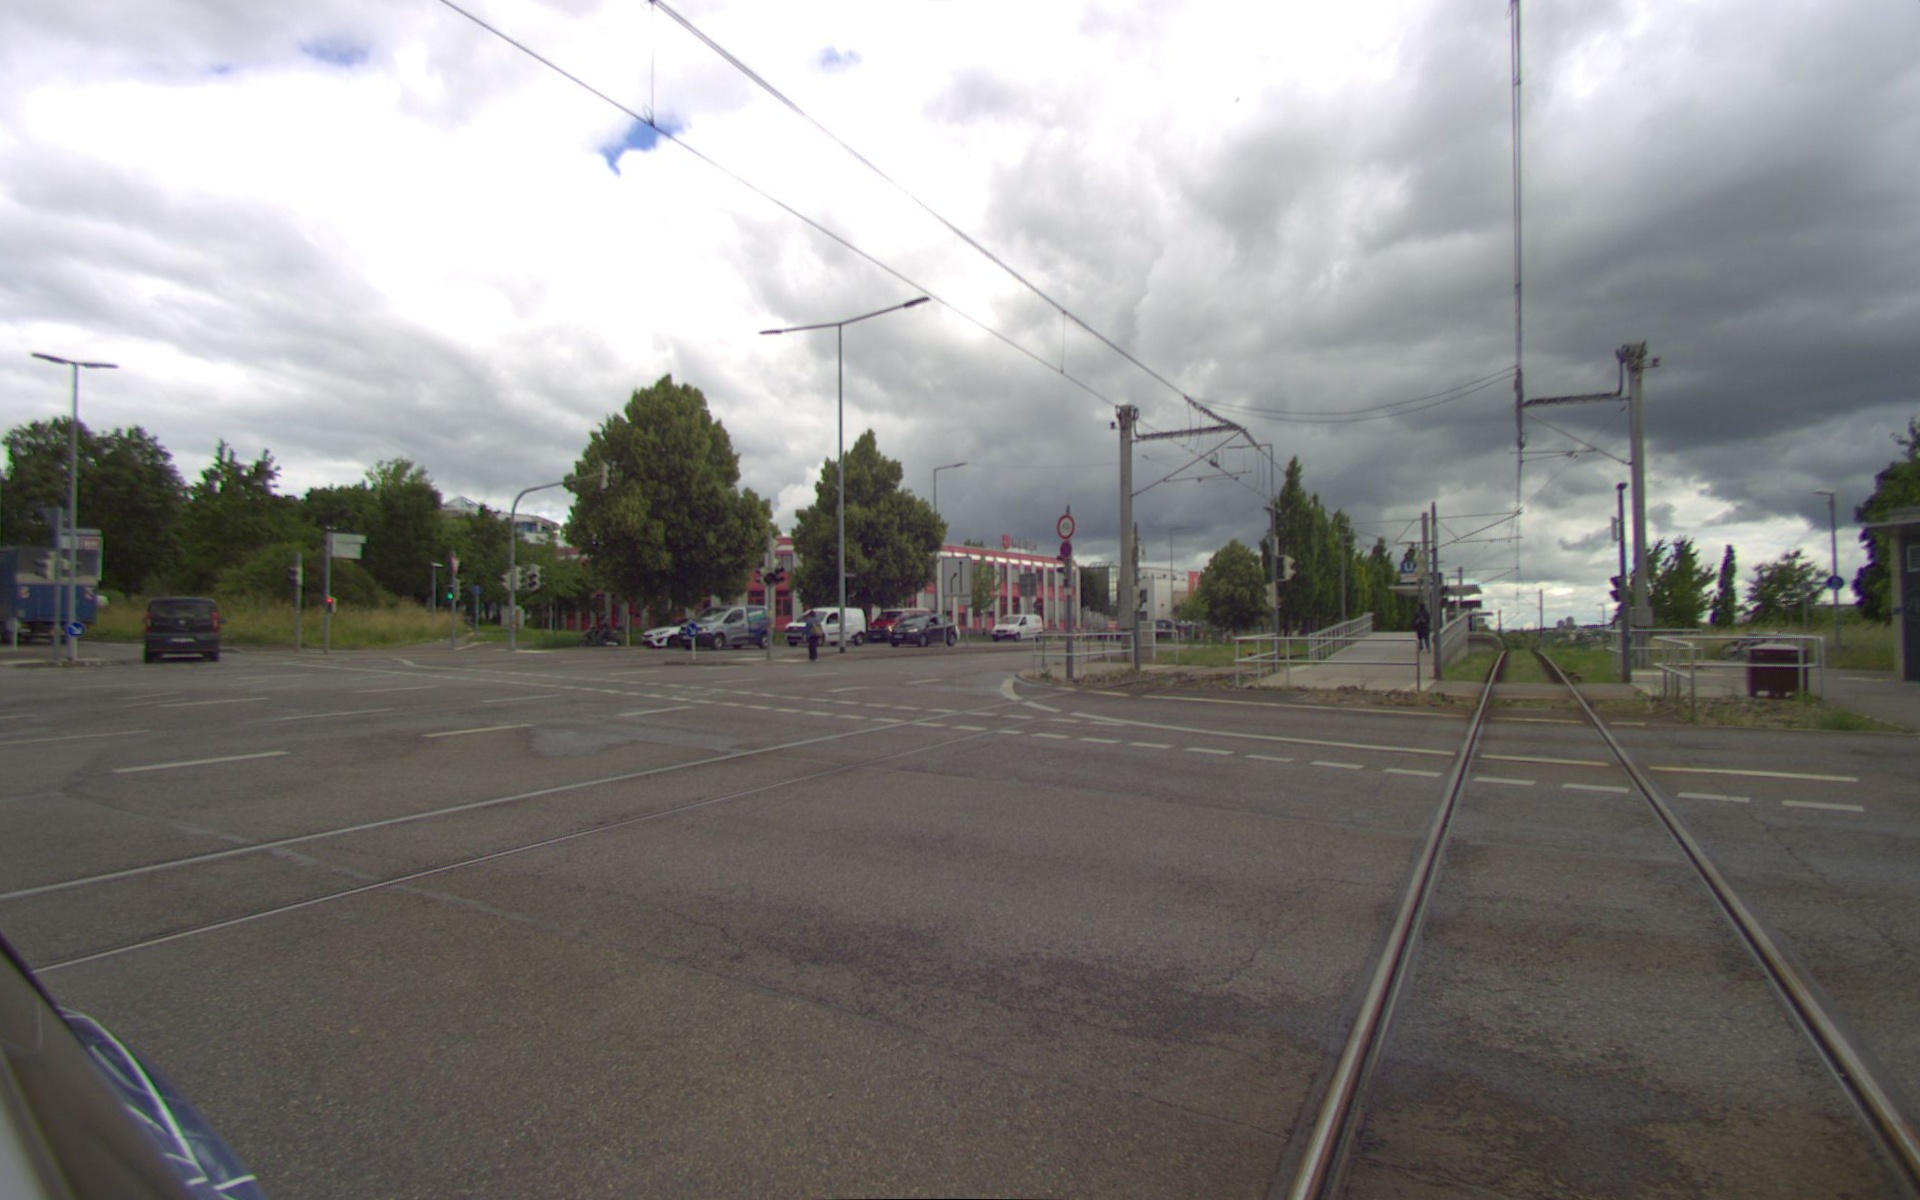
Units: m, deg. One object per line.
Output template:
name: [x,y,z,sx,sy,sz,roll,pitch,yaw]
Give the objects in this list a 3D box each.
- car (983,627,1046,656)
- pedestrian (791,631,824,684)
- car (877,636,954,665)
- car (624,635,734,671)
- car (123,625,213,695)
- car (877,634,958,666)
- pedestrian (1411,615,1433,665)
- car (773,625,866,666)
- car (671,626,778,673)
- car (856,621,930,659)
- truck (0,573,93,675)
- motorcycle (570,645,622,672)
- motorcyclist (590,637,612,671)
car: [3.784,2.815,69.837,1.946,1.920,5.176,-2,-2,34]
pedestrian: [-4.531,1.709,30.155,0.714,1.542,0.662,-2,-2,36]
car: [-2.285,2.671,52.949,1.811,1.351,4.171,-2,-6,35]
car: [-12.530,2.341,45.301,1.836,1.431,4.449,-5,-4,44]
car: [-23.522,1.725,30.056,1.968,1.891,4.900,1,-2,-39]
car: [-1.980,2.426,48.251,1.809,1.351,4.176,-2,-5,32]
pedestrian: [14.905,1.287,32.655,0.562,1.584,0.540,-2,0,30]
car: [-6.509,2.142,47.383,1.808,1.806,4.647,-2,-3,30]
car: [-9.435,1.963,40.854,1.809,1.793,4.176,-2,-2,32]
car: [-3.747,2.320,57.733,2.176,1.920,4.409,-1,-5,29]
truck: [-38.777,1.033,41.323,8.361,3.833,2.757,-2,-2,32]
motorcycle: [-15.427,2.486,42.931,2.033,1.099,0.762,0,-3,-24]
motorcyclist: [-15.256,2.289,43.017,0.803,1.432,0.762,0,-3,-24]
